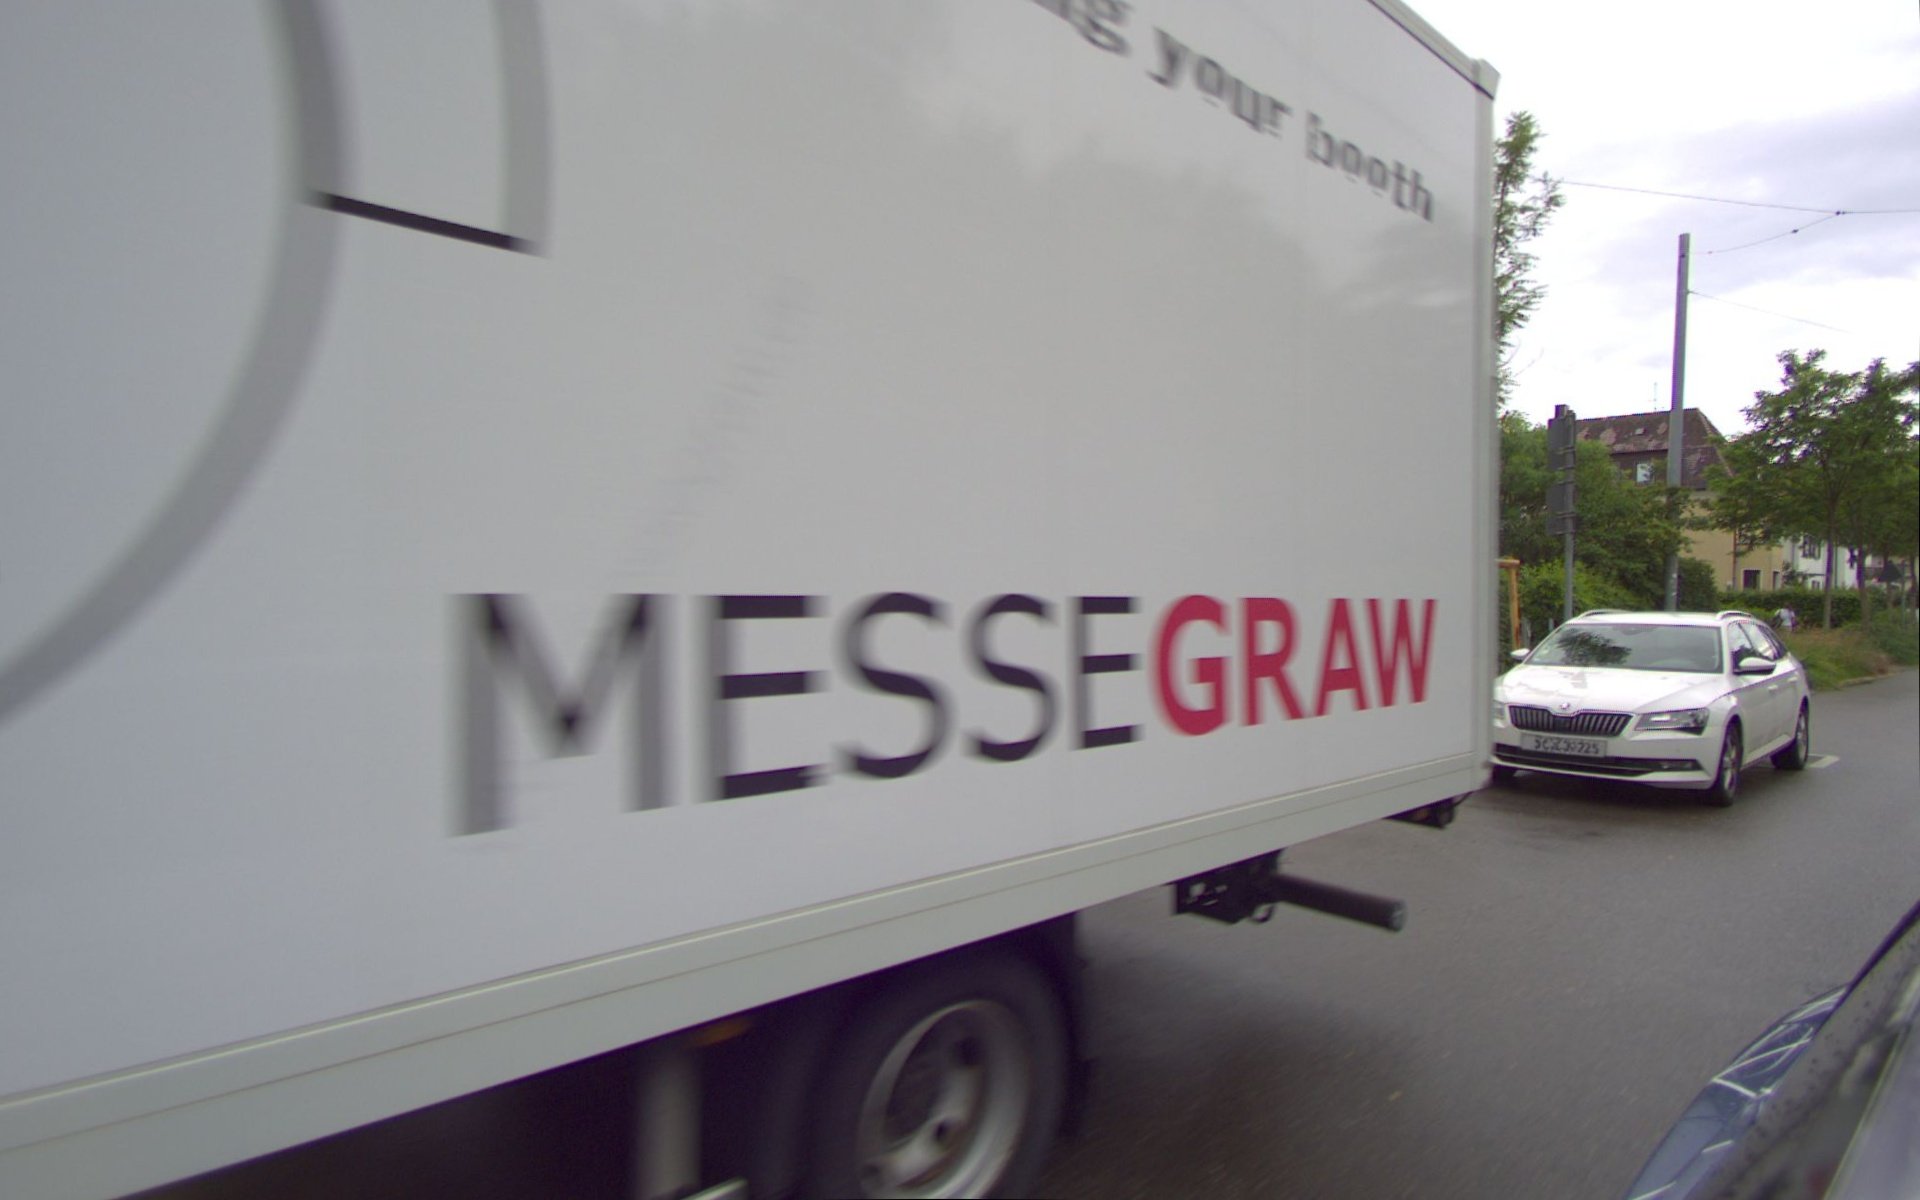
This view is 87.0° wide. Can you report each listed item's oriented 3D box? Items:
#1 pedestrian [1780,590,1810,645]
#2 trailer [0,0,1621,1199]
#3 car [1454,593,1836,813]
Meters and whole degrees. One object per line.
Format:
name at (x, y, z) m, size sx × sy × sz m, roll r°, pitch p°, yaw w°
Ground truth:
pedestrian at (27.144, 0.553, 32.901) m, size 0.701 × 1.753 × 0.635 m, roll -1°, pitch 1°, yaw -39°
trailer at (-1.287, -0.386, 2.466) m, size 8.102 × 3.553 × 2.738 m, roll 1°, pitch -1°, yaw -41°
car at (6.281, 0.715, 9.054) m, size 4.469 × 1.493 × 1.798 m, roll 1°, pitch -1°, yaw -42°
